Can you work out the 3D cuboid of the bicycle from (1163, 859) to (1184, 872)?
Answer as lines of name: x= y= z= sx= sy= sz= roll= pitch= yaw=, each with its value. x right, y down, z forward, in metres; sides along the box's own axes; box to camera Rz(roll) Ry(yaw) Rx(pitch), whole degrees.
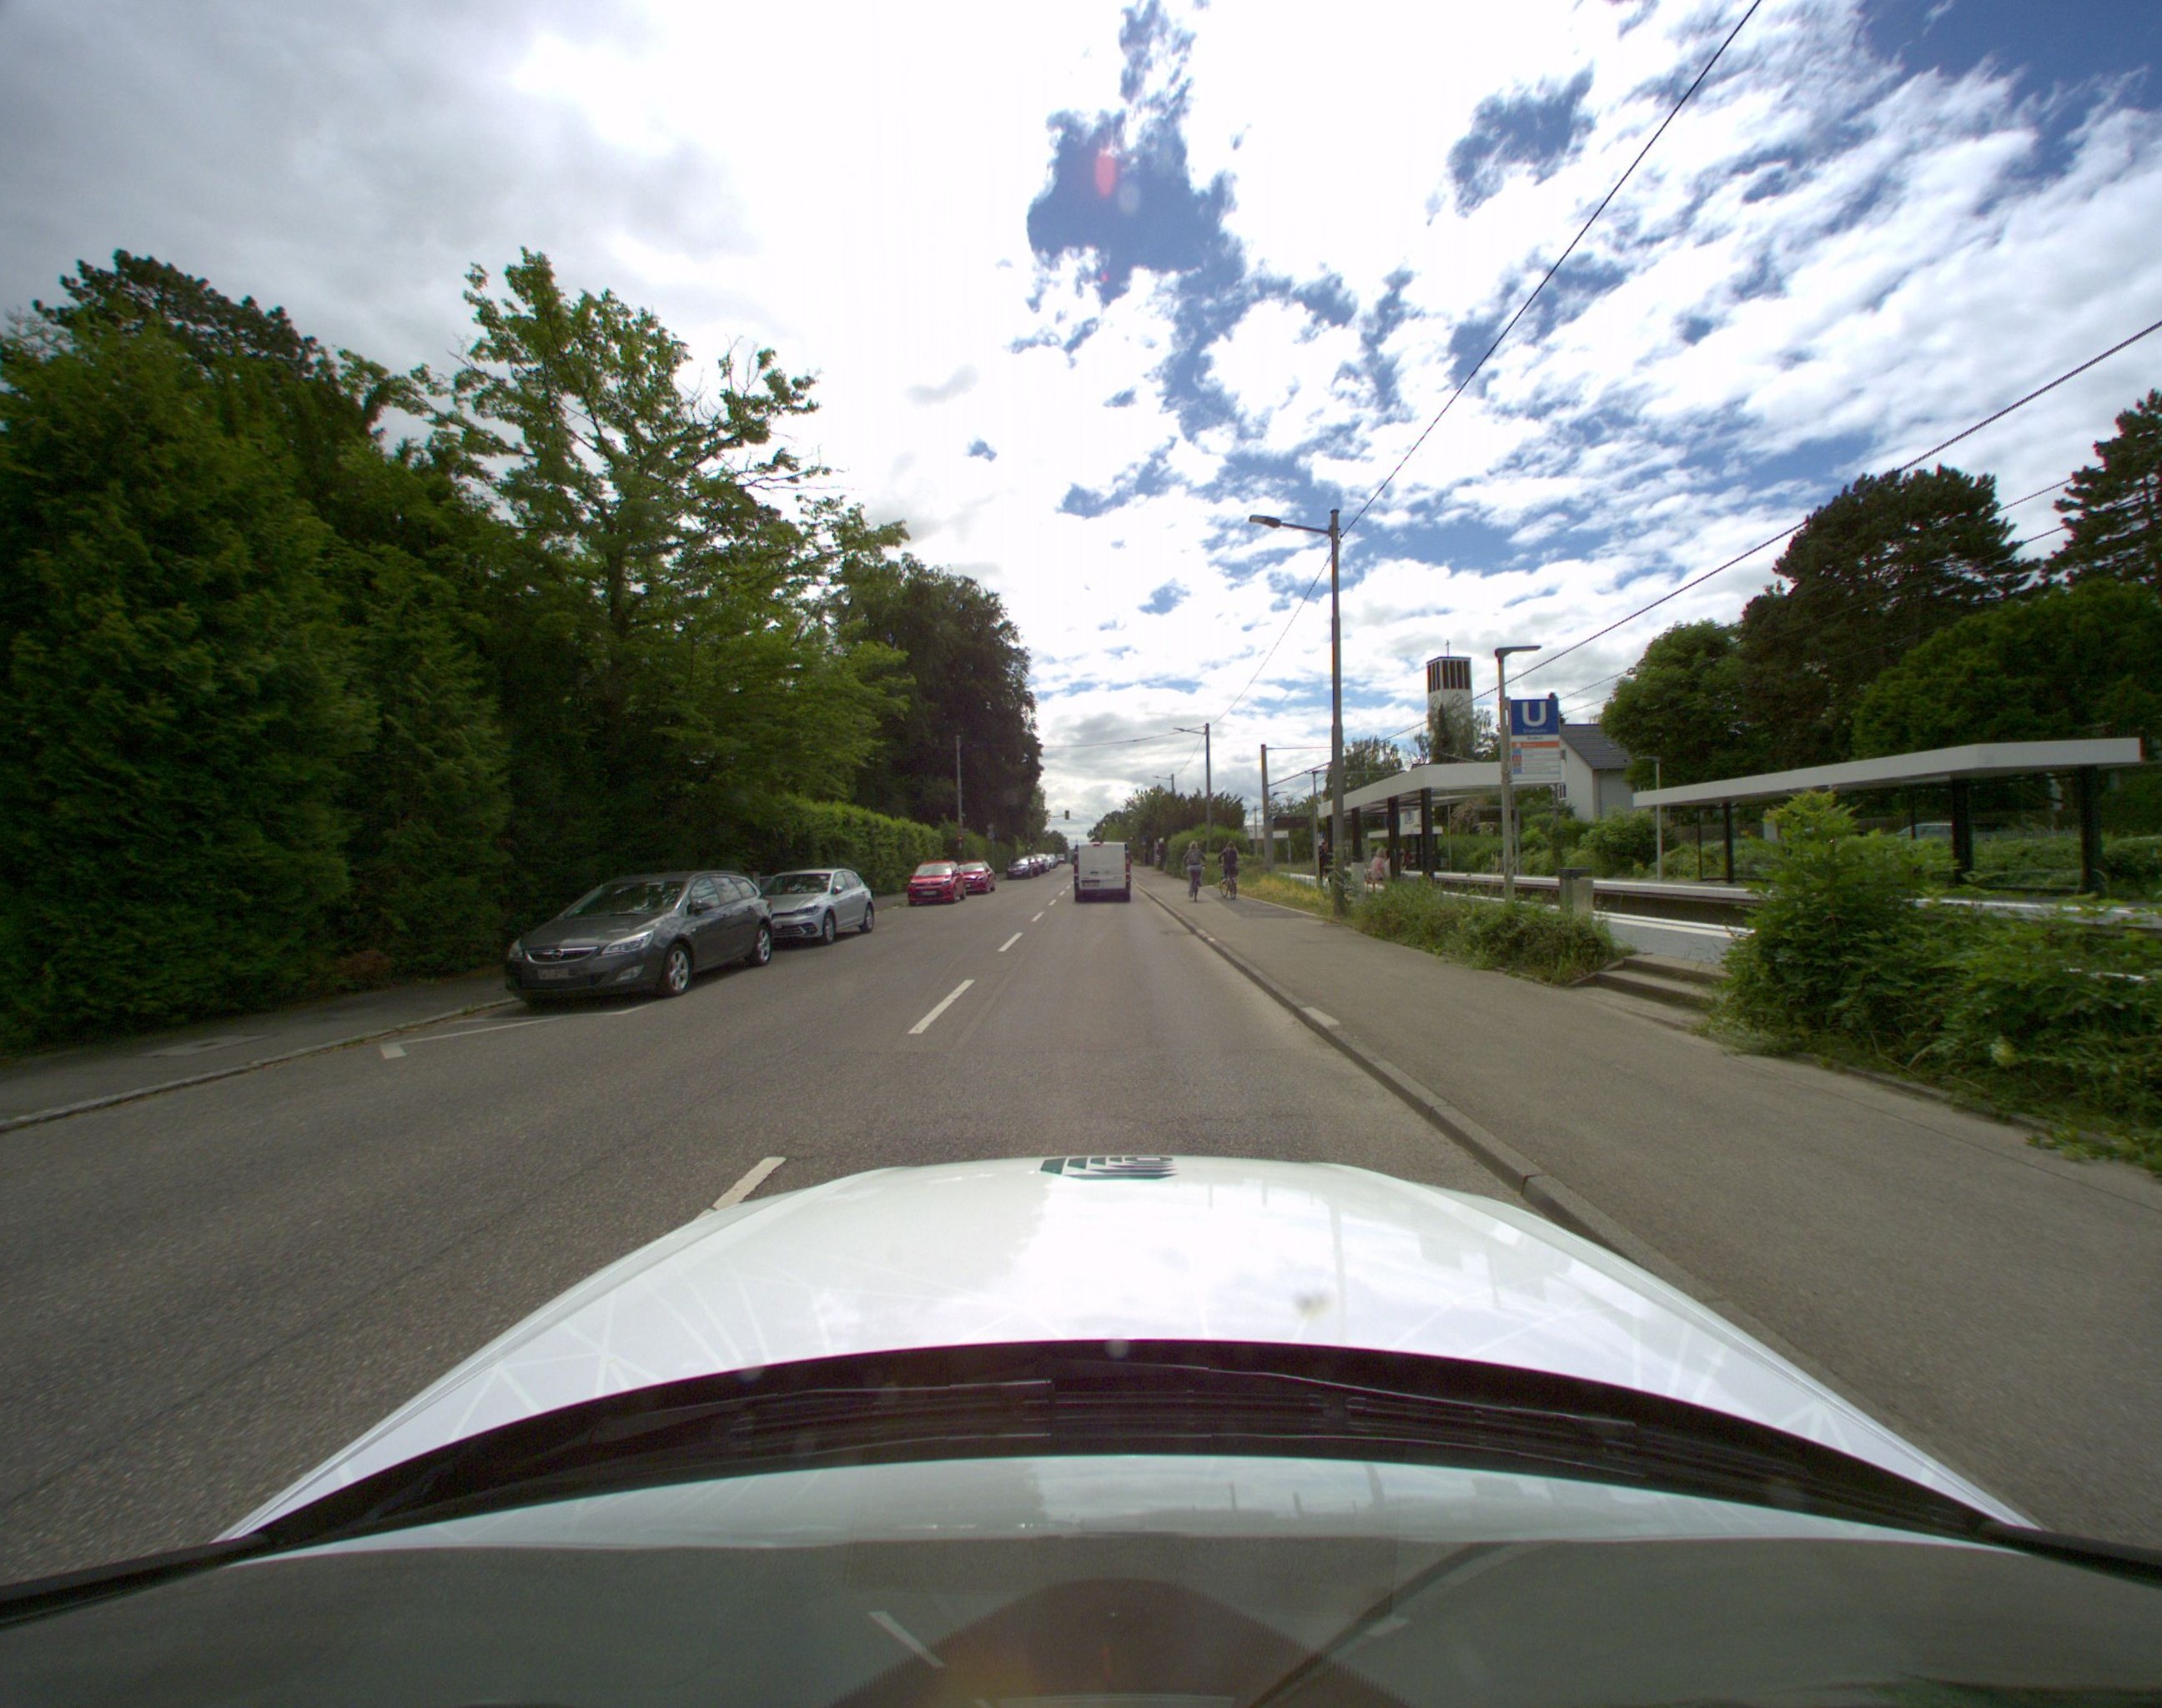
bicycle: x=7.630 y=0.972 z=67.264 sx=1.693 sy=1.030 sz=0.491 roll=-1 pitch=0 yaw=0

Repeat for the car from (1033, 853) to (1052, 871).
car: x=-4.061 y=0.800 z=86.265 sx=1.756 sy=1.756 sz=3.815 roll=-2 pitch=0 yaw=0

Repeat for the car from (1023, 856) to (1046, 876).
car: x=-4.180 y=1.045 z=73.501 sx=1.756 sy=1.656 sz=3.815 roll=-2 pitch=0 yaw=0

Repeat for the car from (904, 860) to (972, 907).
car: x=-5.032 y=0.999 z=29.071 sx=1.582 sy=1.505 sz=3.517 roll=-3 pitch=0 yaw=3

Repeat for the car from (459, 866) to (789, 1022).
car: x=-5.624 y=0.978 z=10.827 sx=1.731 sy=1.505 sz=4.478 roll=-3 pitch=0 yaw=1

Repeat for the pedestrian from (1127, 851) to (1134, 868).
pedestrian: x=5.544 y=0.615 z=91.101 sx=0.676 sy=1.841 sz=0.647 roll=-1 pitch=0 yaw=7

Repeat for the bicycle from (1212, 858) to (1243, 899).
bicycle: x=4.701 y=0.768 z=26.283 sx=0.616 sy=1.246 sz=2.396 roll=-1 pitch=0 yaw=1

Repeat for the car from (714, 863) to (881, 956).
car: x=-5.482 y=1.000 z=16.327 sx=1.730 sy=1.505 sz=3.965 roll=-3 pitch=0 yaw=3

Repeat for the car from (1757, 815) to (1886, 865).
car: x=28.003 y=-0.505 z=30.983 sx=1.722 sy=1.751 sz=3.943 roll=-1 pitch=0 yaw=8

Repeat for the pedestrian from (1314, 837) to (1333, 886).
pedestrian: x=8.602 y=0.266 z=28.910 sx=0.632 sy=1.725 sz=0.658 roll=-1 pitch=0 yaw=16

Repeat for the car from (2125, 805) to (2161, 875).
car: x=26.431 y=-0.342 z=17.939 sx=1.769 sy=1.662 sz=4.001 roll=-1 pitch=0 yaw=1

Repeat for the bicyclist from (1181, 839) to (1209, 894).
bicyclist: x=3.442 y=0.368 z=24.662 sx=0.715 sy=1.612 sz=0.758 roll=-1 pitch=0 yaw=1

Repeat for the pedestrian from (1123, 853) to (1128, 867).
pedestrian: x=5.936 y=0.824 z=108.962 sx=0.700 sy=1.851 sz=0.666 roll=-1 pitch=0 yaw=1

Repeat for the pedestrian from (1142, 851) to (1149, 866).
pedestrian: x=7.318 y=0.513 z=92.236 sx=0.671 sy=1.696 sz=0.523 roll=-1 pitch=0 yaw=6

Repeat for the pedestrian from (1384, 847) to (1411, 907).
pedestrian: x=7.187 y=0.508 z=18.506 sx=0.483 sy=1.344 sz=0.397 roll=-1 pitch=0 yaw=6

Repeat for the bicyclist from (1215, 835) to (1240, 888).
bicyclist: x=4.665 y=0.243 z=25.953 sx=0.637 sy=1.650 sz=0.819 roll=-1 pitch=0 yaw=1

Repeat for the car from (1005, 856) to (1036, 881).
car: x=-4.223 y=1.009 z=57.572 sx=1.756 sy=1.626 sz=4.185 roll=-2 pitch=0 yaw=0

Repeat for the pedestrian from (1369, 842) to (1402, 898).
pedestrian: x=7.706 y=0.400 z=20.626 sx=0.580 sy=1.380 sz=0.740 roll=-1 pitch=0 yaw=3

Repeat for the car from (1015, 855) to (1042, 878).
car: x=-4.051 y=0.932 z=63.493 sx=1.756 sy=1.656 sz=4.061 roll=-2 pitch=0 yaw=0

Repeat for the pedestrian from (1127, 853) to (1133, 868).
pedestrian: x=6.125 y=0.801 z=101.811 sx=0.649 sy=1.807 sz=0.564 roll=-1 pitch=0 yaw=-10

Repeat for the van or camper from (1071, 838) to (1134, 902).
van or camper: x=0.768 y=0.526 z=28.121 sx=1.986 sy=2.014 sz=4.447 roll=0 pitch=-1 yaw=2

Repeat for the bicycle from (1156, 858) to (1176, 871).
bicycle: x=7.325 y=0.893 z=70.297 sx=1.693 sy=1.030 sz=0.491 roll=-1 pitch=0 yaw=0

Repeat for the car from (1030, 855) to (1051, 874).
car: x=-3.878 y=1.004 z=79.291 sx=1.756 sy=1.656 sz=3.815 roll=-2 pitch=0 yaw=0

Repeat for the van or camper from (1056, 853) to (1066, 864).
van or camper: x=-4.643 y=1.011 z=187.840 sx=2.000 sy=2.261 sz=4.607 roll=-2 pitch=0 yaw=-3

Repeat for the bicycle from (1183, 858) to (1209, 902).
bicycle: x=3.456 y=0.751 z=24.598 sx=0.544 sy=1.246 sz=2.056 roll=-1 pitch=0 yaw=1

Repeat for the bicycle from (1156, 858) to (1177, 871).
bicycle: x=7.309 y=0.888 z=69.765 sx=1.693 sy=1.030 sz=0.491 roll=-1 pitch=0 yaw=0

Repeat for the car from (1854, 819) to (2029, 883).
car: x=27.327 y=-0.063 z=26.069 sx=1.723 sy=1.914 sz=3.942 roll=0 pitch=-1 yaw=7

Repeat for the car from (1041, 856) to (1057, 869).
car: x=-3.922 y=1.017 z=99.834 sx=1.756 sy=1.557 sz=3.815 roll=-2 pitch=0 yaw=0

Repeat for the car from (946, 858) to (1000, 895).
car: x=-4.729 y=0.960 z=36.056 sx=1.756 sy=1.471 sz=4.185 roll=-2 pitch=0 yaw=0
